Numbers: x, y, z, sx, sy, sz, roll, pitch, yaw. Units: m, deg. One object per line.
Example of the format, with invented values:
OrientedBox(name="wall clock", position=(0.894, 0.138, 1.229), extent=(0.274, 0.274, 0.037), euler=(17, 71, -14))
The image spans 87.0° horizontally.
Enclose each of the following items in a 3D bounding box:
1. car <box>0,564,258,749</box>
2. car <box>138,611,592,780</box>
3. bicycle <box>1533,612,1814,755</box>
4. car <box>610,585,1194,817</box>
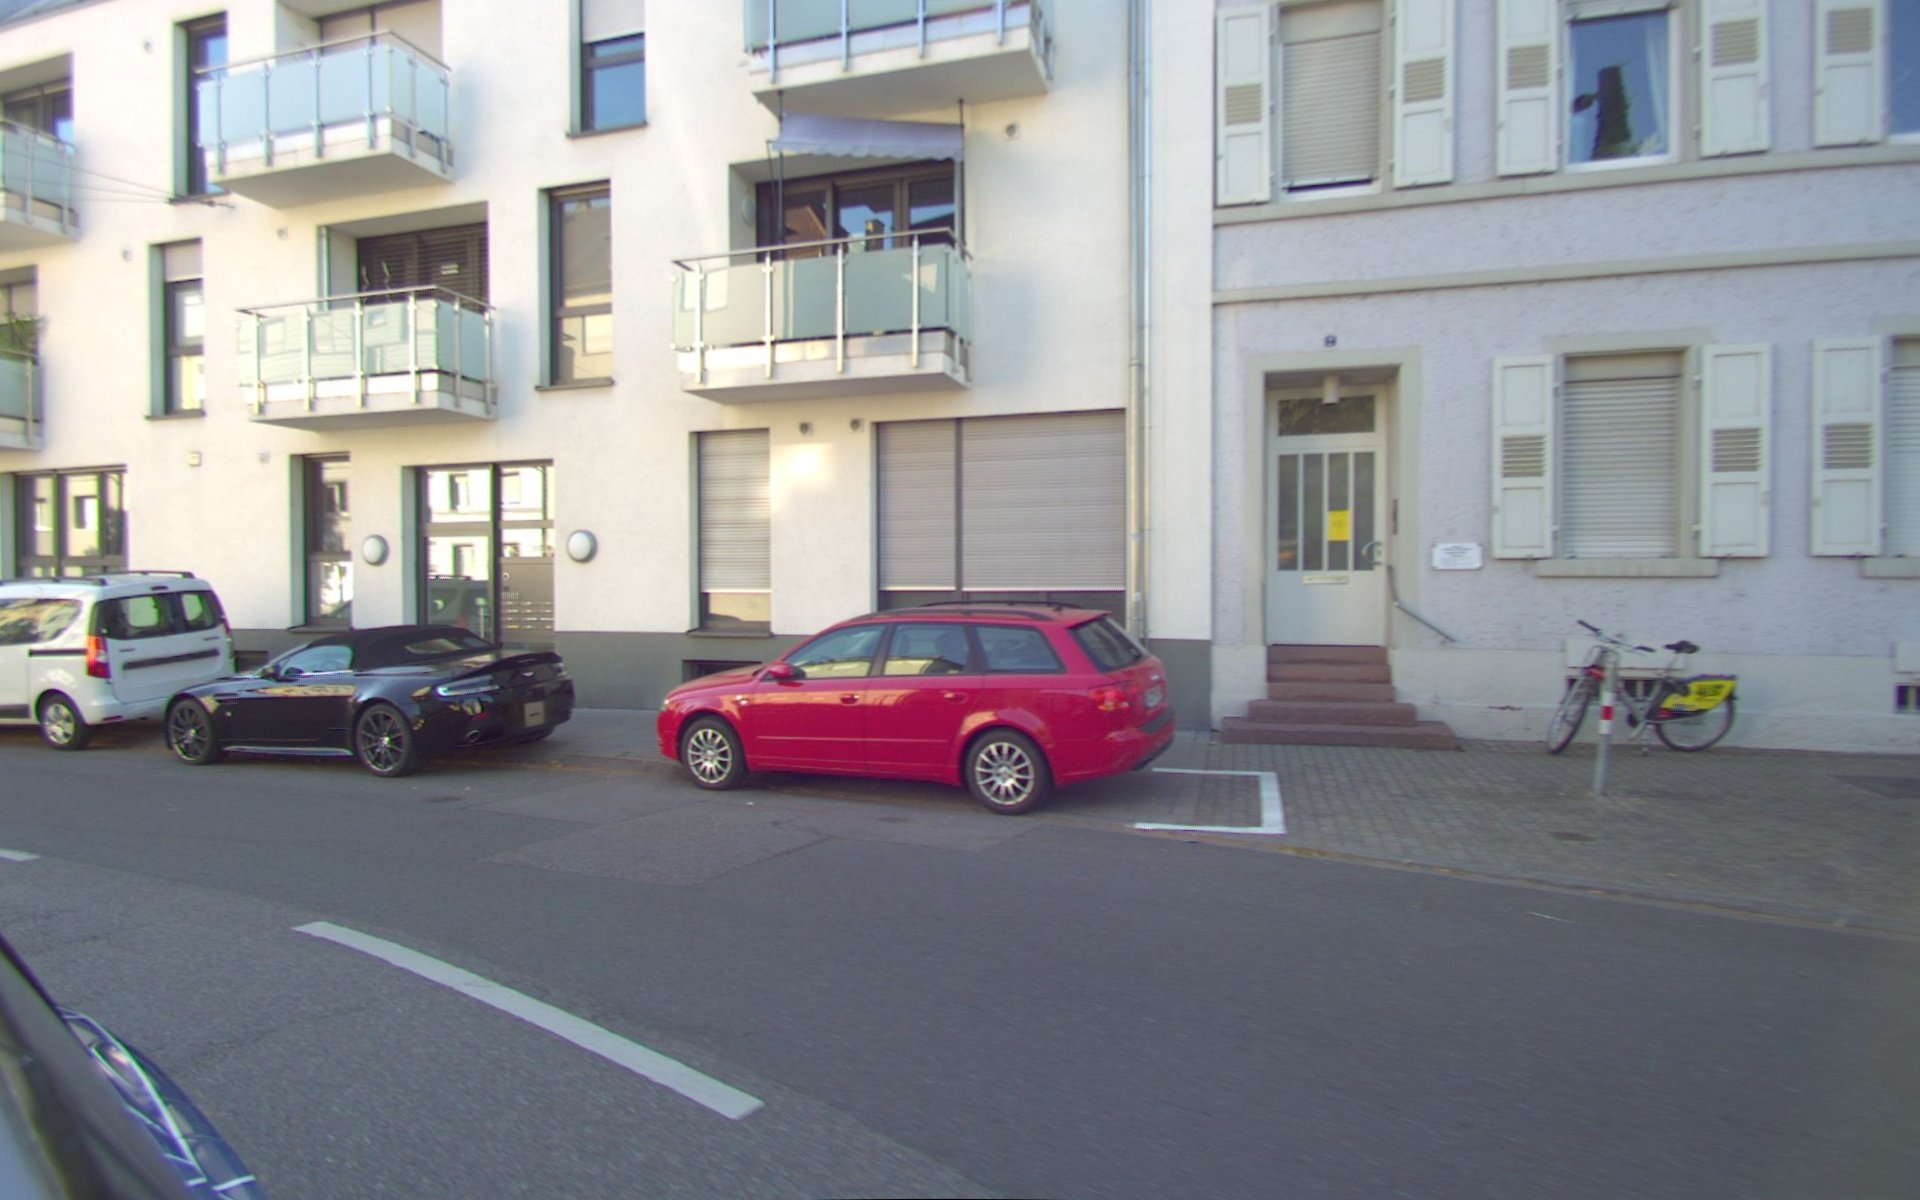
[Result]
OrientedBox(name="car", position=(-10.741, 0.549, 11.802), extent=(4.291, 1.883, 1.809), euler=(0, 3, 15))
OrientedBox(name="car", position=(-5.782, 0.810, 9.878), extent=(3.995, 1.283, 1.659), euler=(0, 3, 20))
OrientedBox(name="bicycle", position=(5.938, 0.673, 8.504), extent=(1.849, 1.118, 0.577), euler=(0, 1, 9))
OrientedBox(name="car", position=(-0.530, 0.687, 8.400), extent=(4.565, 1.477, 1.701), euler=(-1, 2, 25))
